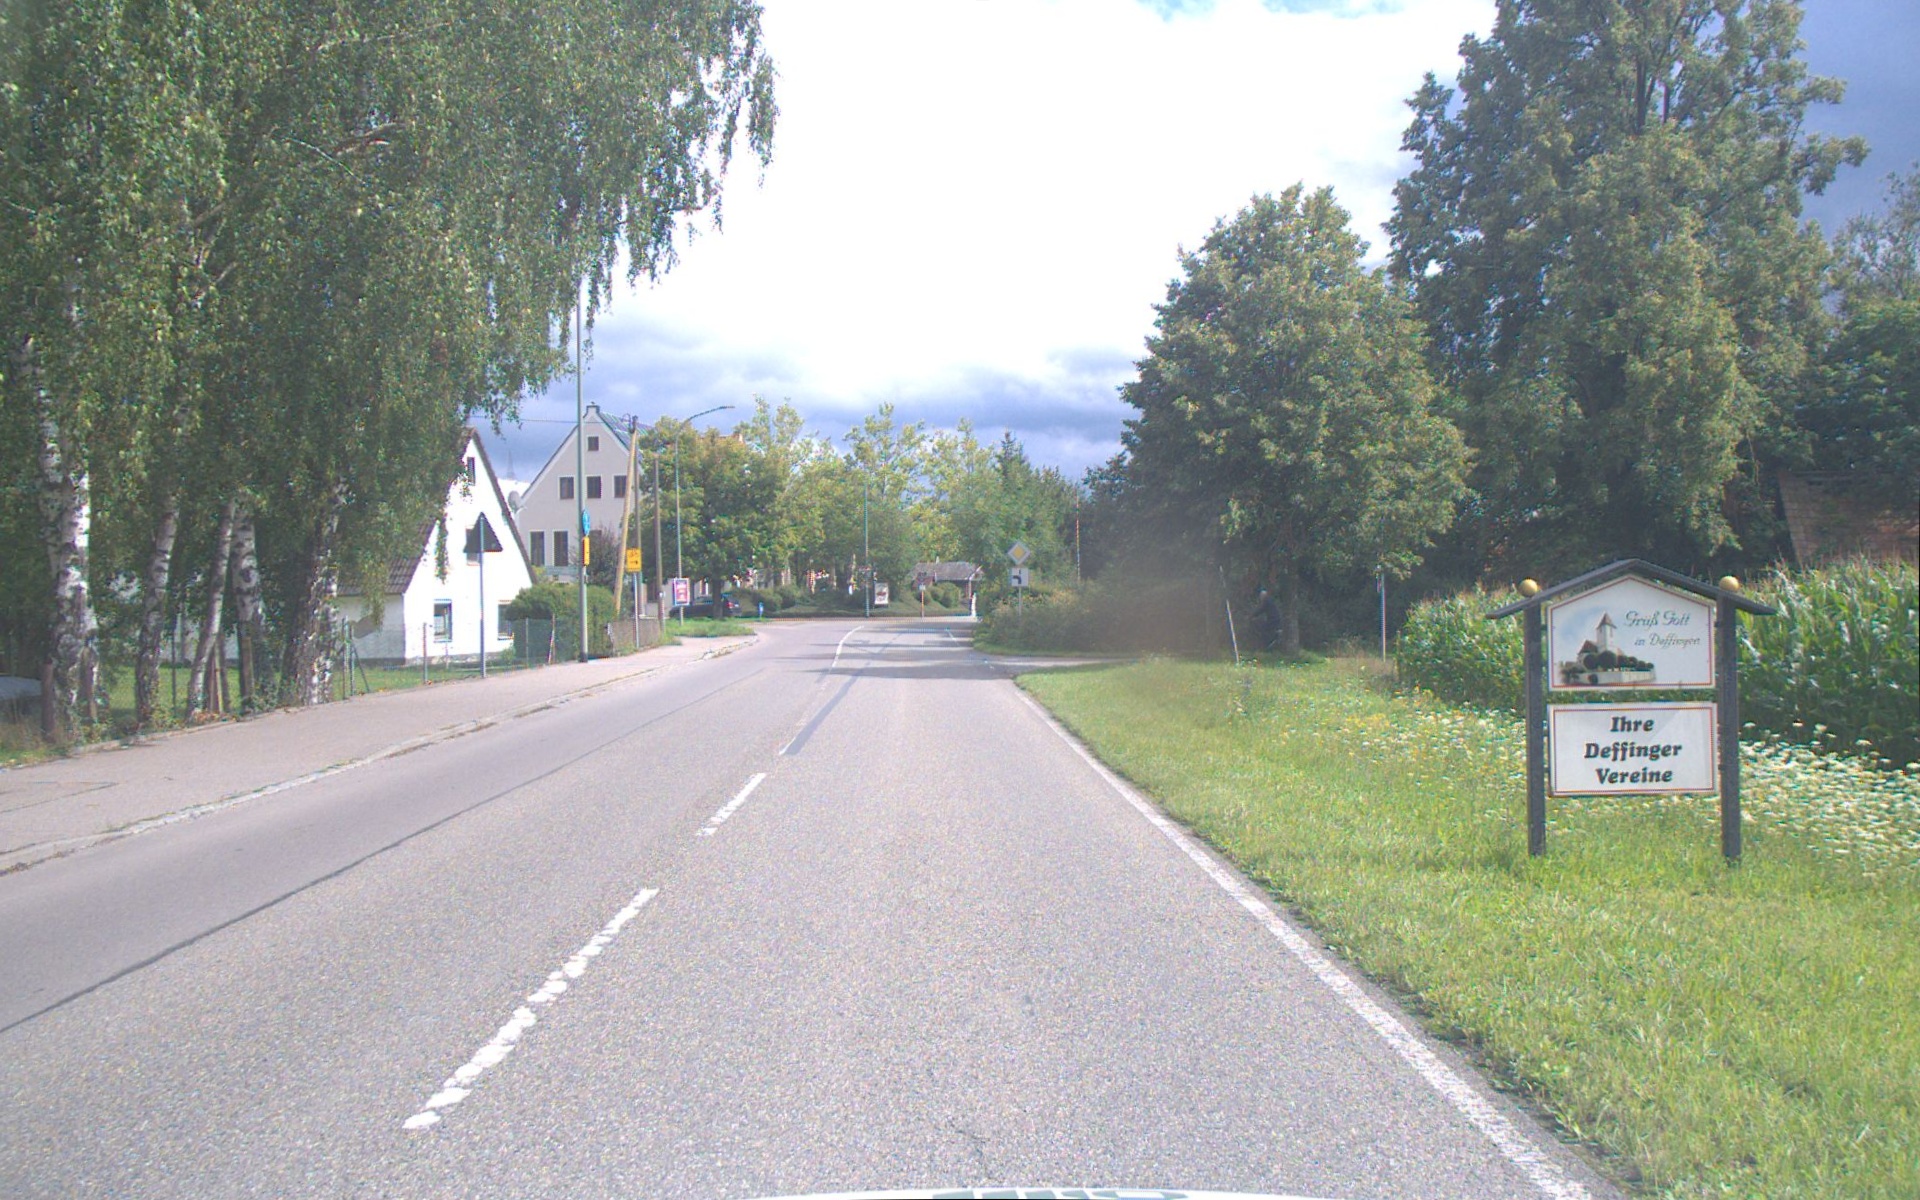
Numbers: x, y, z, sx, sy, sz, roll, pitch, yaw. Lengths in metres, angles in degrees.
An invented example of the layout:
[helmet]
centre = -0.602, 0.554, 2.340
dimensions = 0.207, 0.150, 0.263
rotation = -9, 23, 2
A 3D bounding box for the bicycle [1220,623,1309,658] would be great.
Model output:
[bicycle]
centre = 8.015, 1.064, 43.559
dimensions = 2.081, 0.879, 1.049
rotation = 0, 0, -16

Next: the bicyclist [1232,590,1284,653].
[bicyclist]
centre = 7.840, 0.562, 43.567
dimensions = 1.001, 1.613, 1.049
rotation = 1, 0, -16
